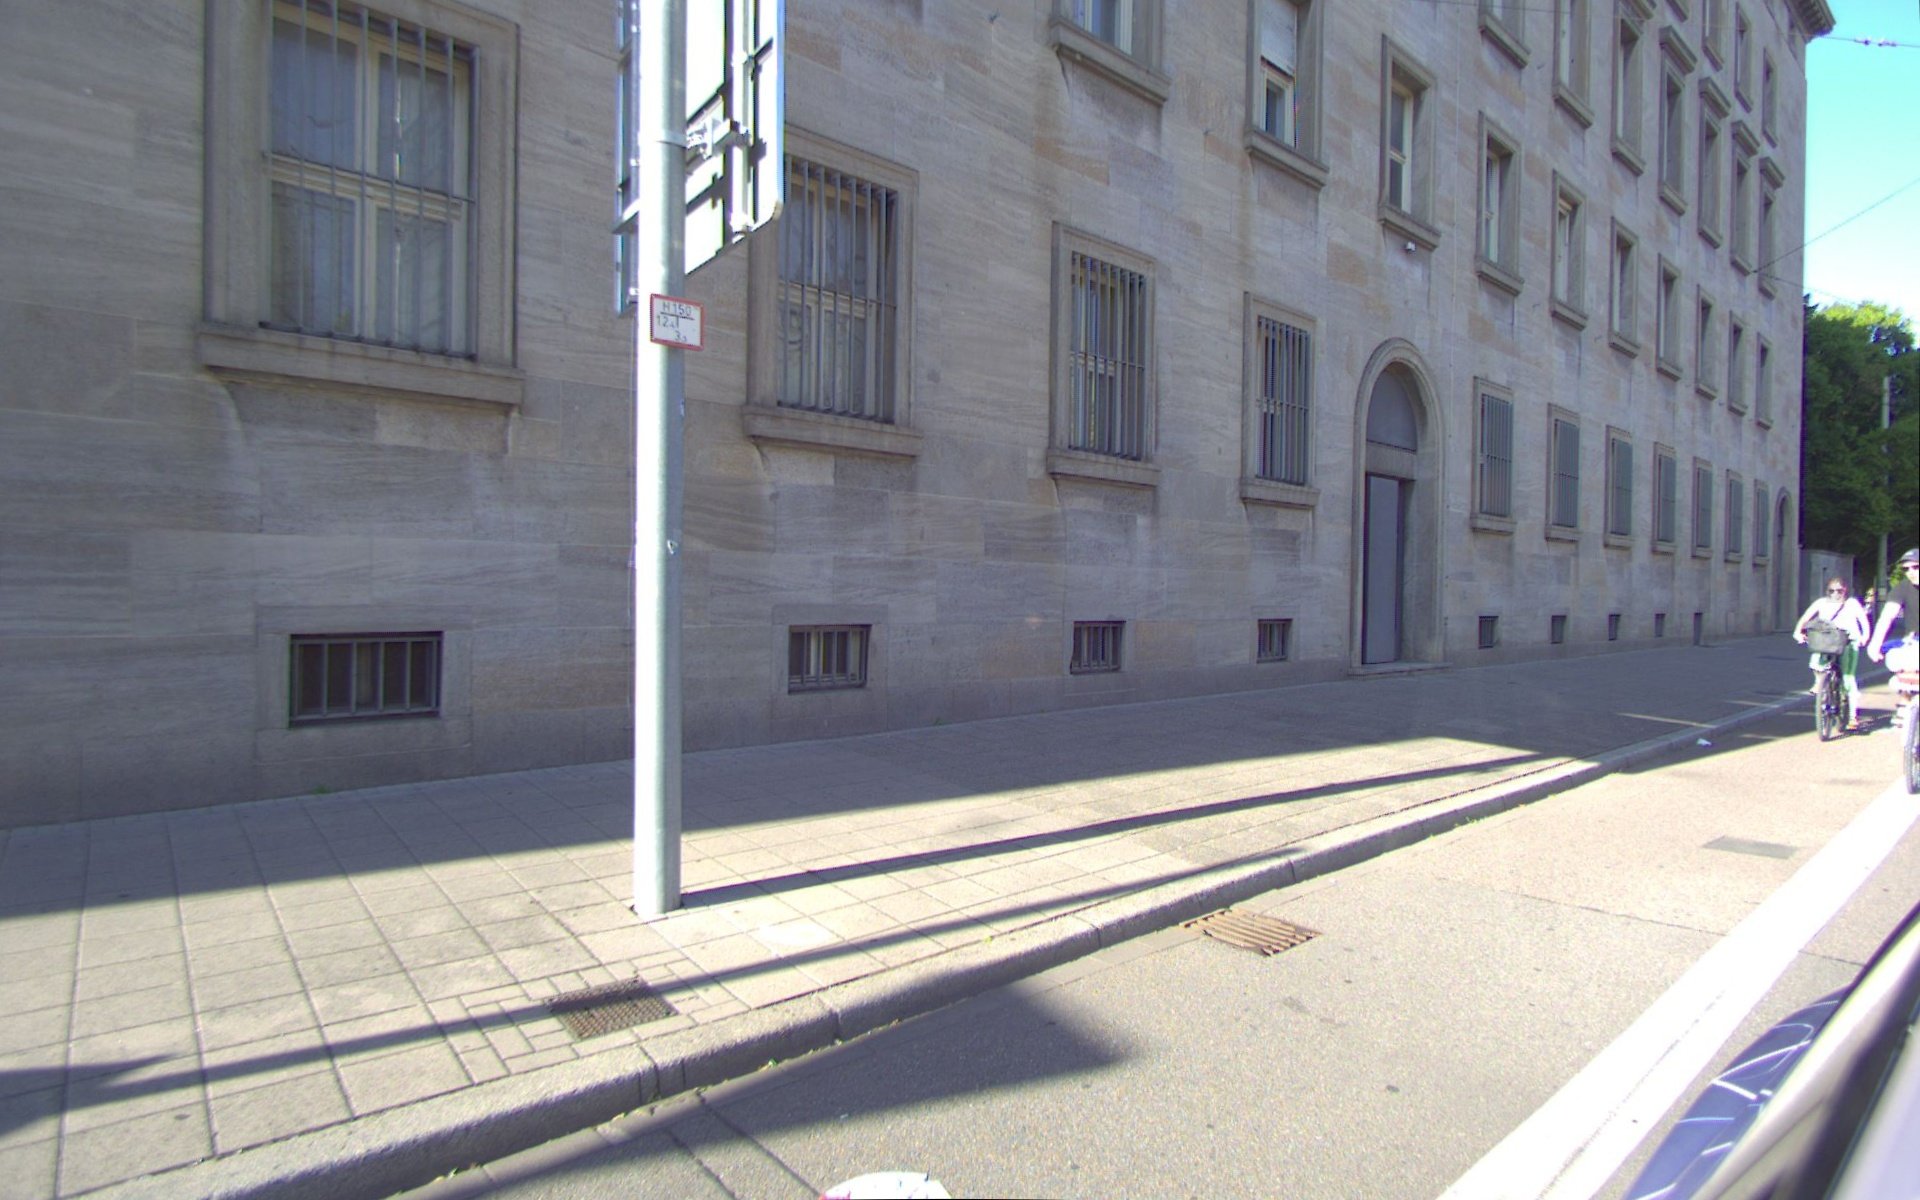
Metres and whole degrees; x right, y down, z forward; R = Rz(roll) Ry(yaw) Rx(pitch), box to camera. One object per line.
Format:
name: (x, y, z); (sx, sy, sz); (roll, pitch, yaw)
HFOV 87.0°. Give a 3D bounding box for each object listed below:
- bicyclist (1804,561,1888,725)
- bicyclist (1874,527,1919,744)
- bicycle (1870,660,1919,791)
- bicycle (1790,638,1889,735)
bicyclist: (9.613, 0.439, 10.975); (0.843, 1.700, 0.523); (0, 1, -39)
bicyclist: (7.805, 0.279, 8.051); (0.645, 1.699, 0.671); (0, 1, -39)
bicycle: (7.873, 0.954, 8.071); (1.912, 0.916, 0.391); (0, 1, -32)
bicycle: (9.442, 0.889, 10.841); (1.915, 0.887, 0.428); (-1, 1, -38)
